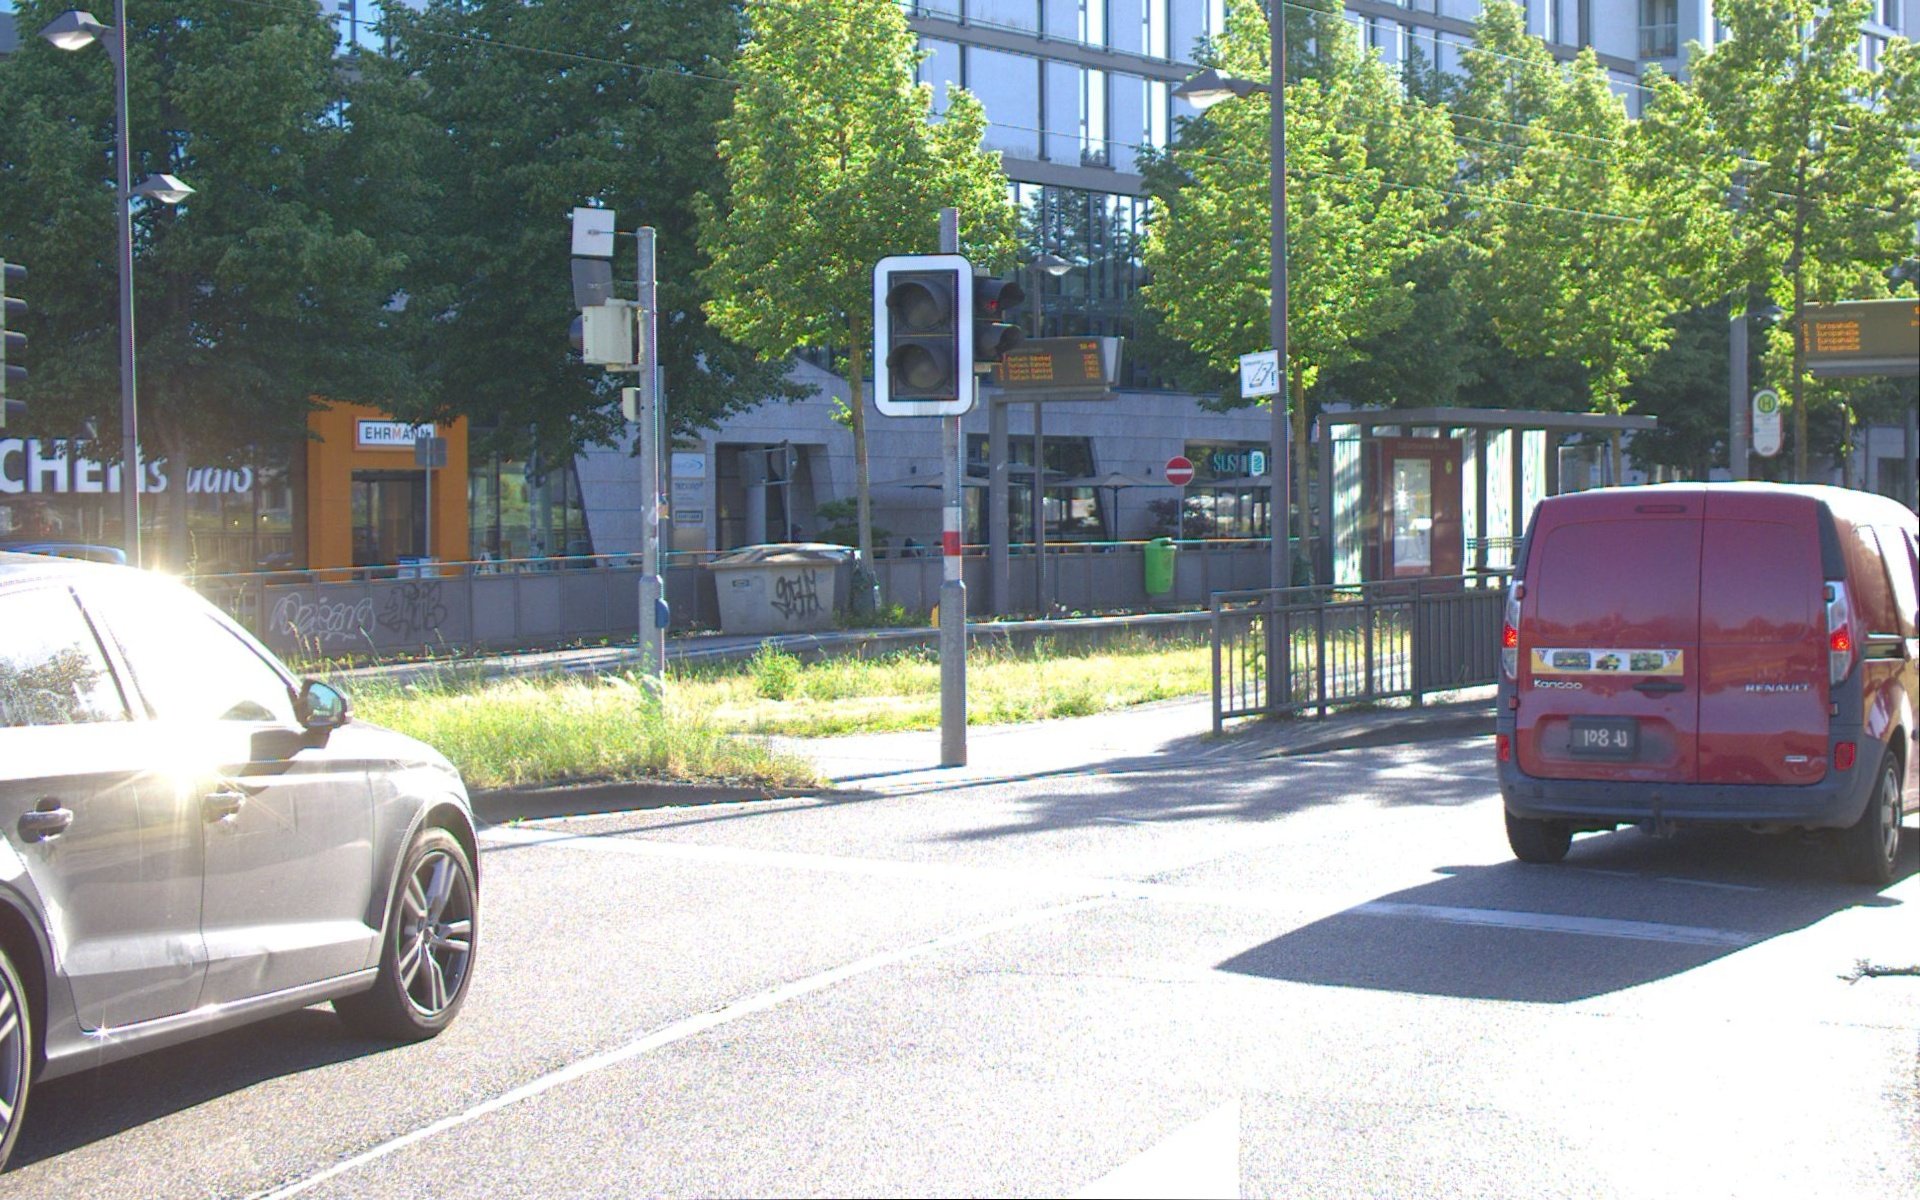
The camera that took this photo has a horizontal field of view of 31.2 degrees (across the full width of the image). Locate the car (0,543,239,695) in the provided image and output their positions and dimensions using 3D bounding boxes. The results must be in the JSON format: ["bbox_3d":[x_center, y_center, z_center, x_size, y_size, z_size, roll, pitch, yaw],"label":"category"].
[{"bbox_3d":[-9.945,0.172,36.943,1.938,1.569,3.967,1,1,39],"label":"car"}]

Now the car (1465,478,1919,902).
[{"bbox_3d":[3.897,0.363,16.791,1.805,1.807,3.804,1,1,25],"label":"car"}]

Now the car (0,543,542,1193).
[{"bbox_3d":[-2.650,0.552,8.595,1.761,1.375,4.356,1,1,14],"label":"car"}]

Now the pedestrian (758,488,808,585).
[{"bbox_3d":[-3.673,-1.326,71.518,0.639,2.007,0.832,1,2,38],"label":"pedestrian"}]
